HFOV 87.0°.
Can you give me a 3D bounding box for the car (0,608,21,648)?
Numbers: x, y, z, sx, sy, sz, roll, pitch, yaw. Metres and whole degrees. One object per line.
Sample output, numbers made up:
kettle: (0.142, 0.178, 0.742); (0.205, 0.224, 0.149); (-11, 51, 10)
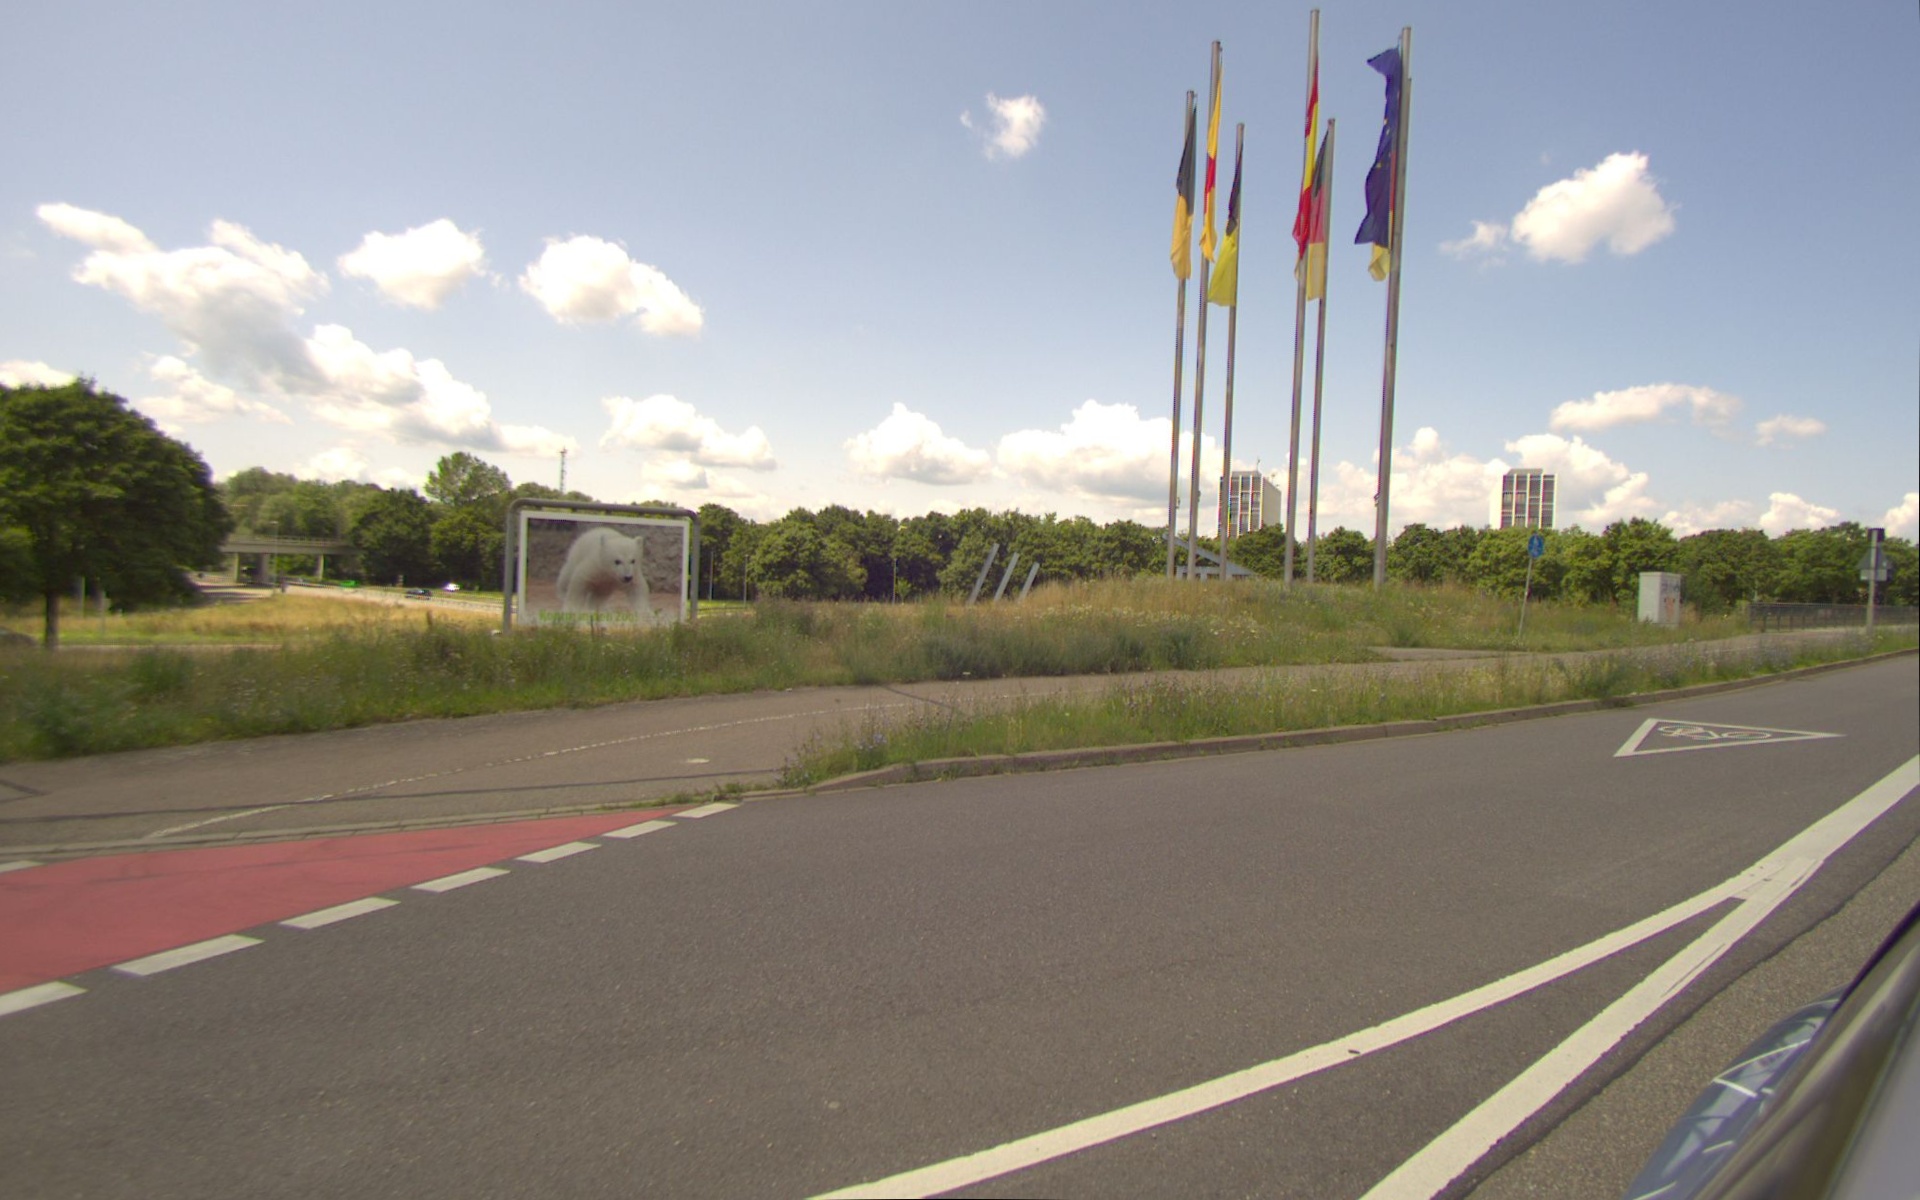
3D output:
car: (-50.722, 1.424, 51.464); (1.967, 2.039, 3.990); (1, 0, 9)
